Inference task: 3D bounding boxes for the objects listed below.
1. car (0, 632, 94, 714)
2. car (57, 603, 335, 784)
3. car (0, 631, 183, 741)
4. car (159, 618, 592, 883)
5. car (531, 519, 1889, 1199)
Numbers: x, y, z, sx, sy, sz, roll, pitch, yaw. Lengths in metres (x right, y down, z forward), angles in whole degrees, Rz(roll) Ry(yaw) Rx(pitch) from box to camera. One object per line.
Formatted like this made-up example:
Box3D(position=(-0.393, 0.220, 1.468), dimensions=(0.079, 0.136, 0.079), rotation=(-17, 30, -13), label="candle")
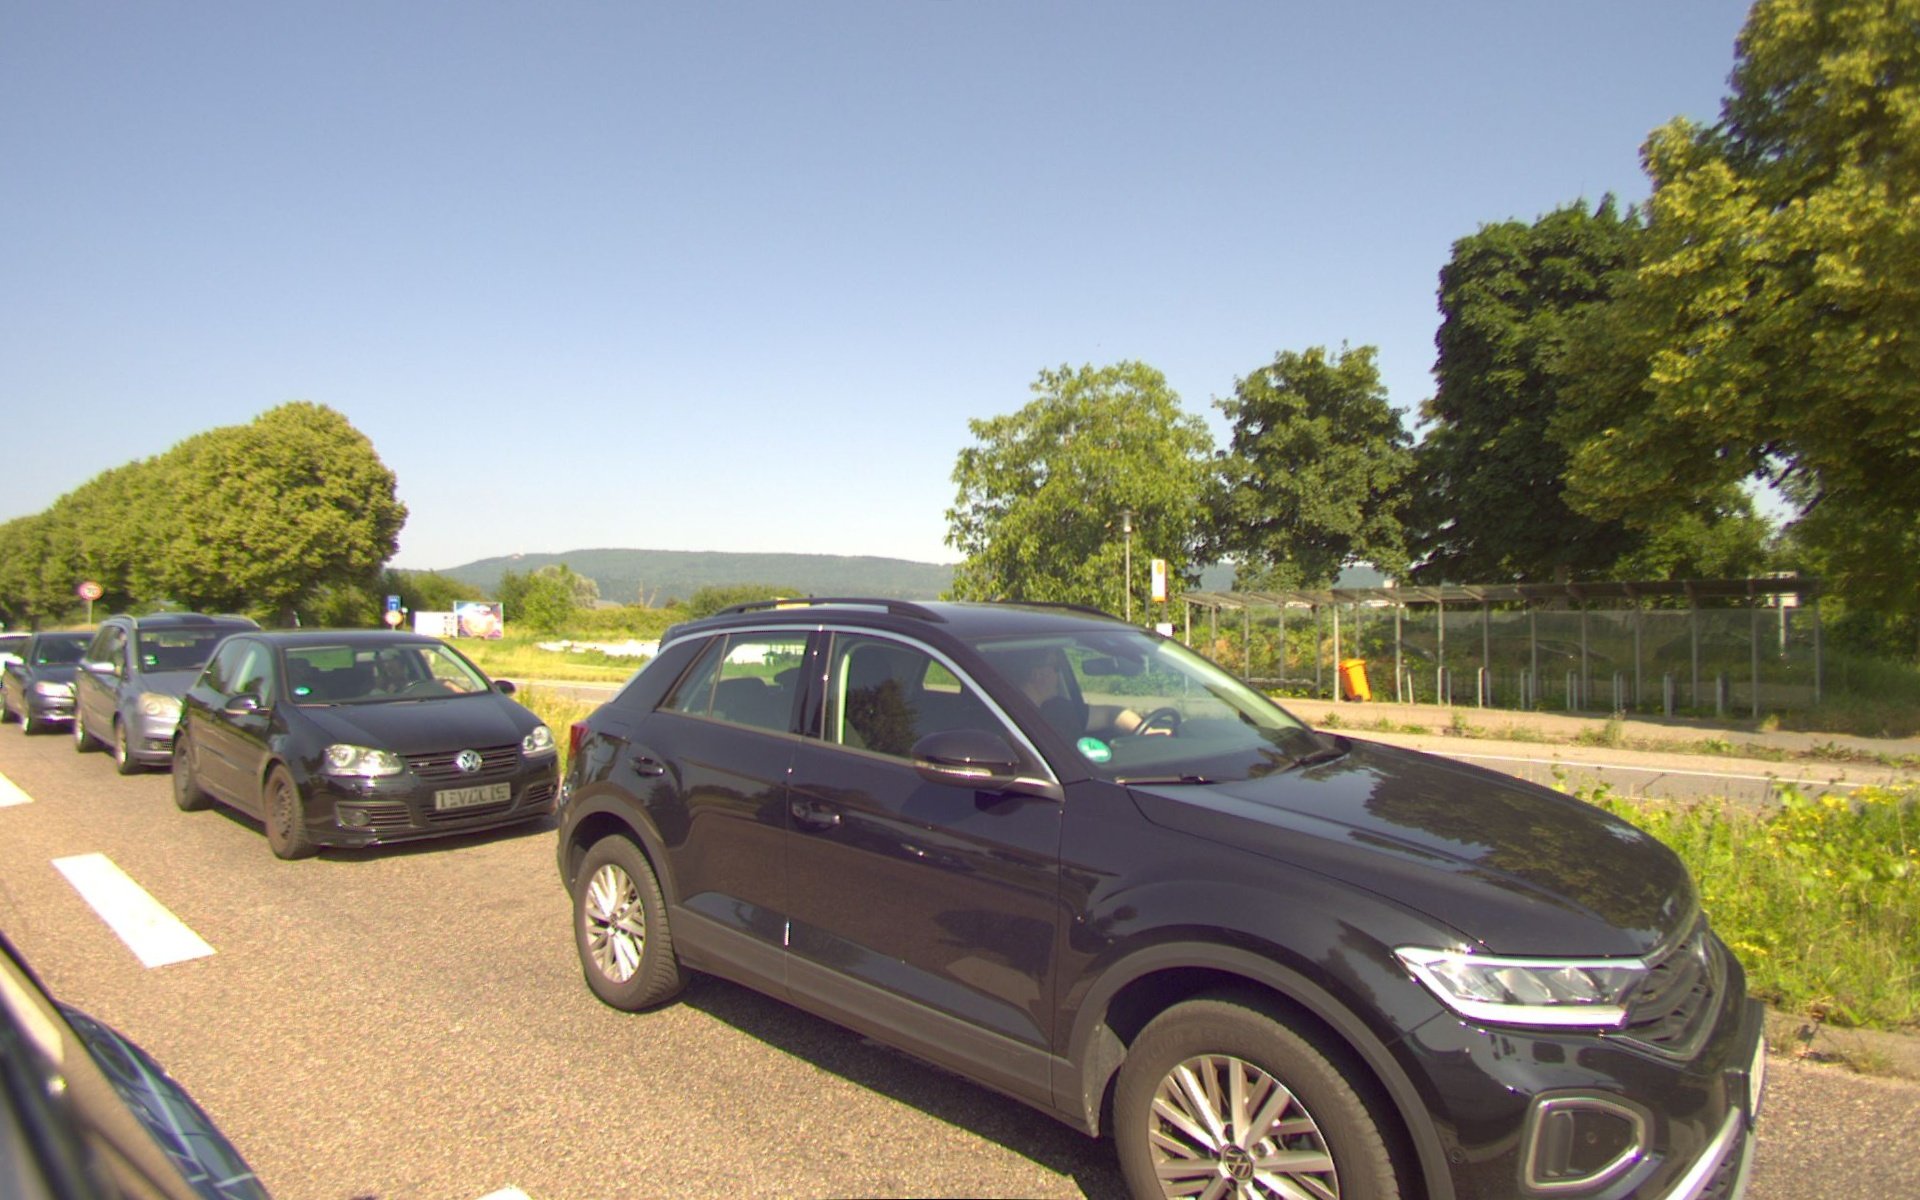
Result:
Box3D(position=(-18.690, 1.377, 19.988), dimensions=(4.639, 1.436, 1.784), rotation=(-2, -1, 41), label="car")
Box3D(position=(-8.815, 0.931, 11.532), dimensions=(4.355, 1.685, 1.723), rotation=(-2, -2, 42), label="car")
Box3D(position=(-13.411, 1.207, 15.426), dimensions=(4.353, 1.421, 1.696), rotation=(-2, -2, 42), label="car")
Box3D(position=(-4.591, 0.906, 7.682), dimensions=(4.096, 1.486, 1.648), rotation=(-2, -2, 42), label="car")
Box3D(position=(0.328, 0.727, 3.426), dimensions=(4.096, 1.559, 1.710), rotation=(-2, -2, 42), label="car")
